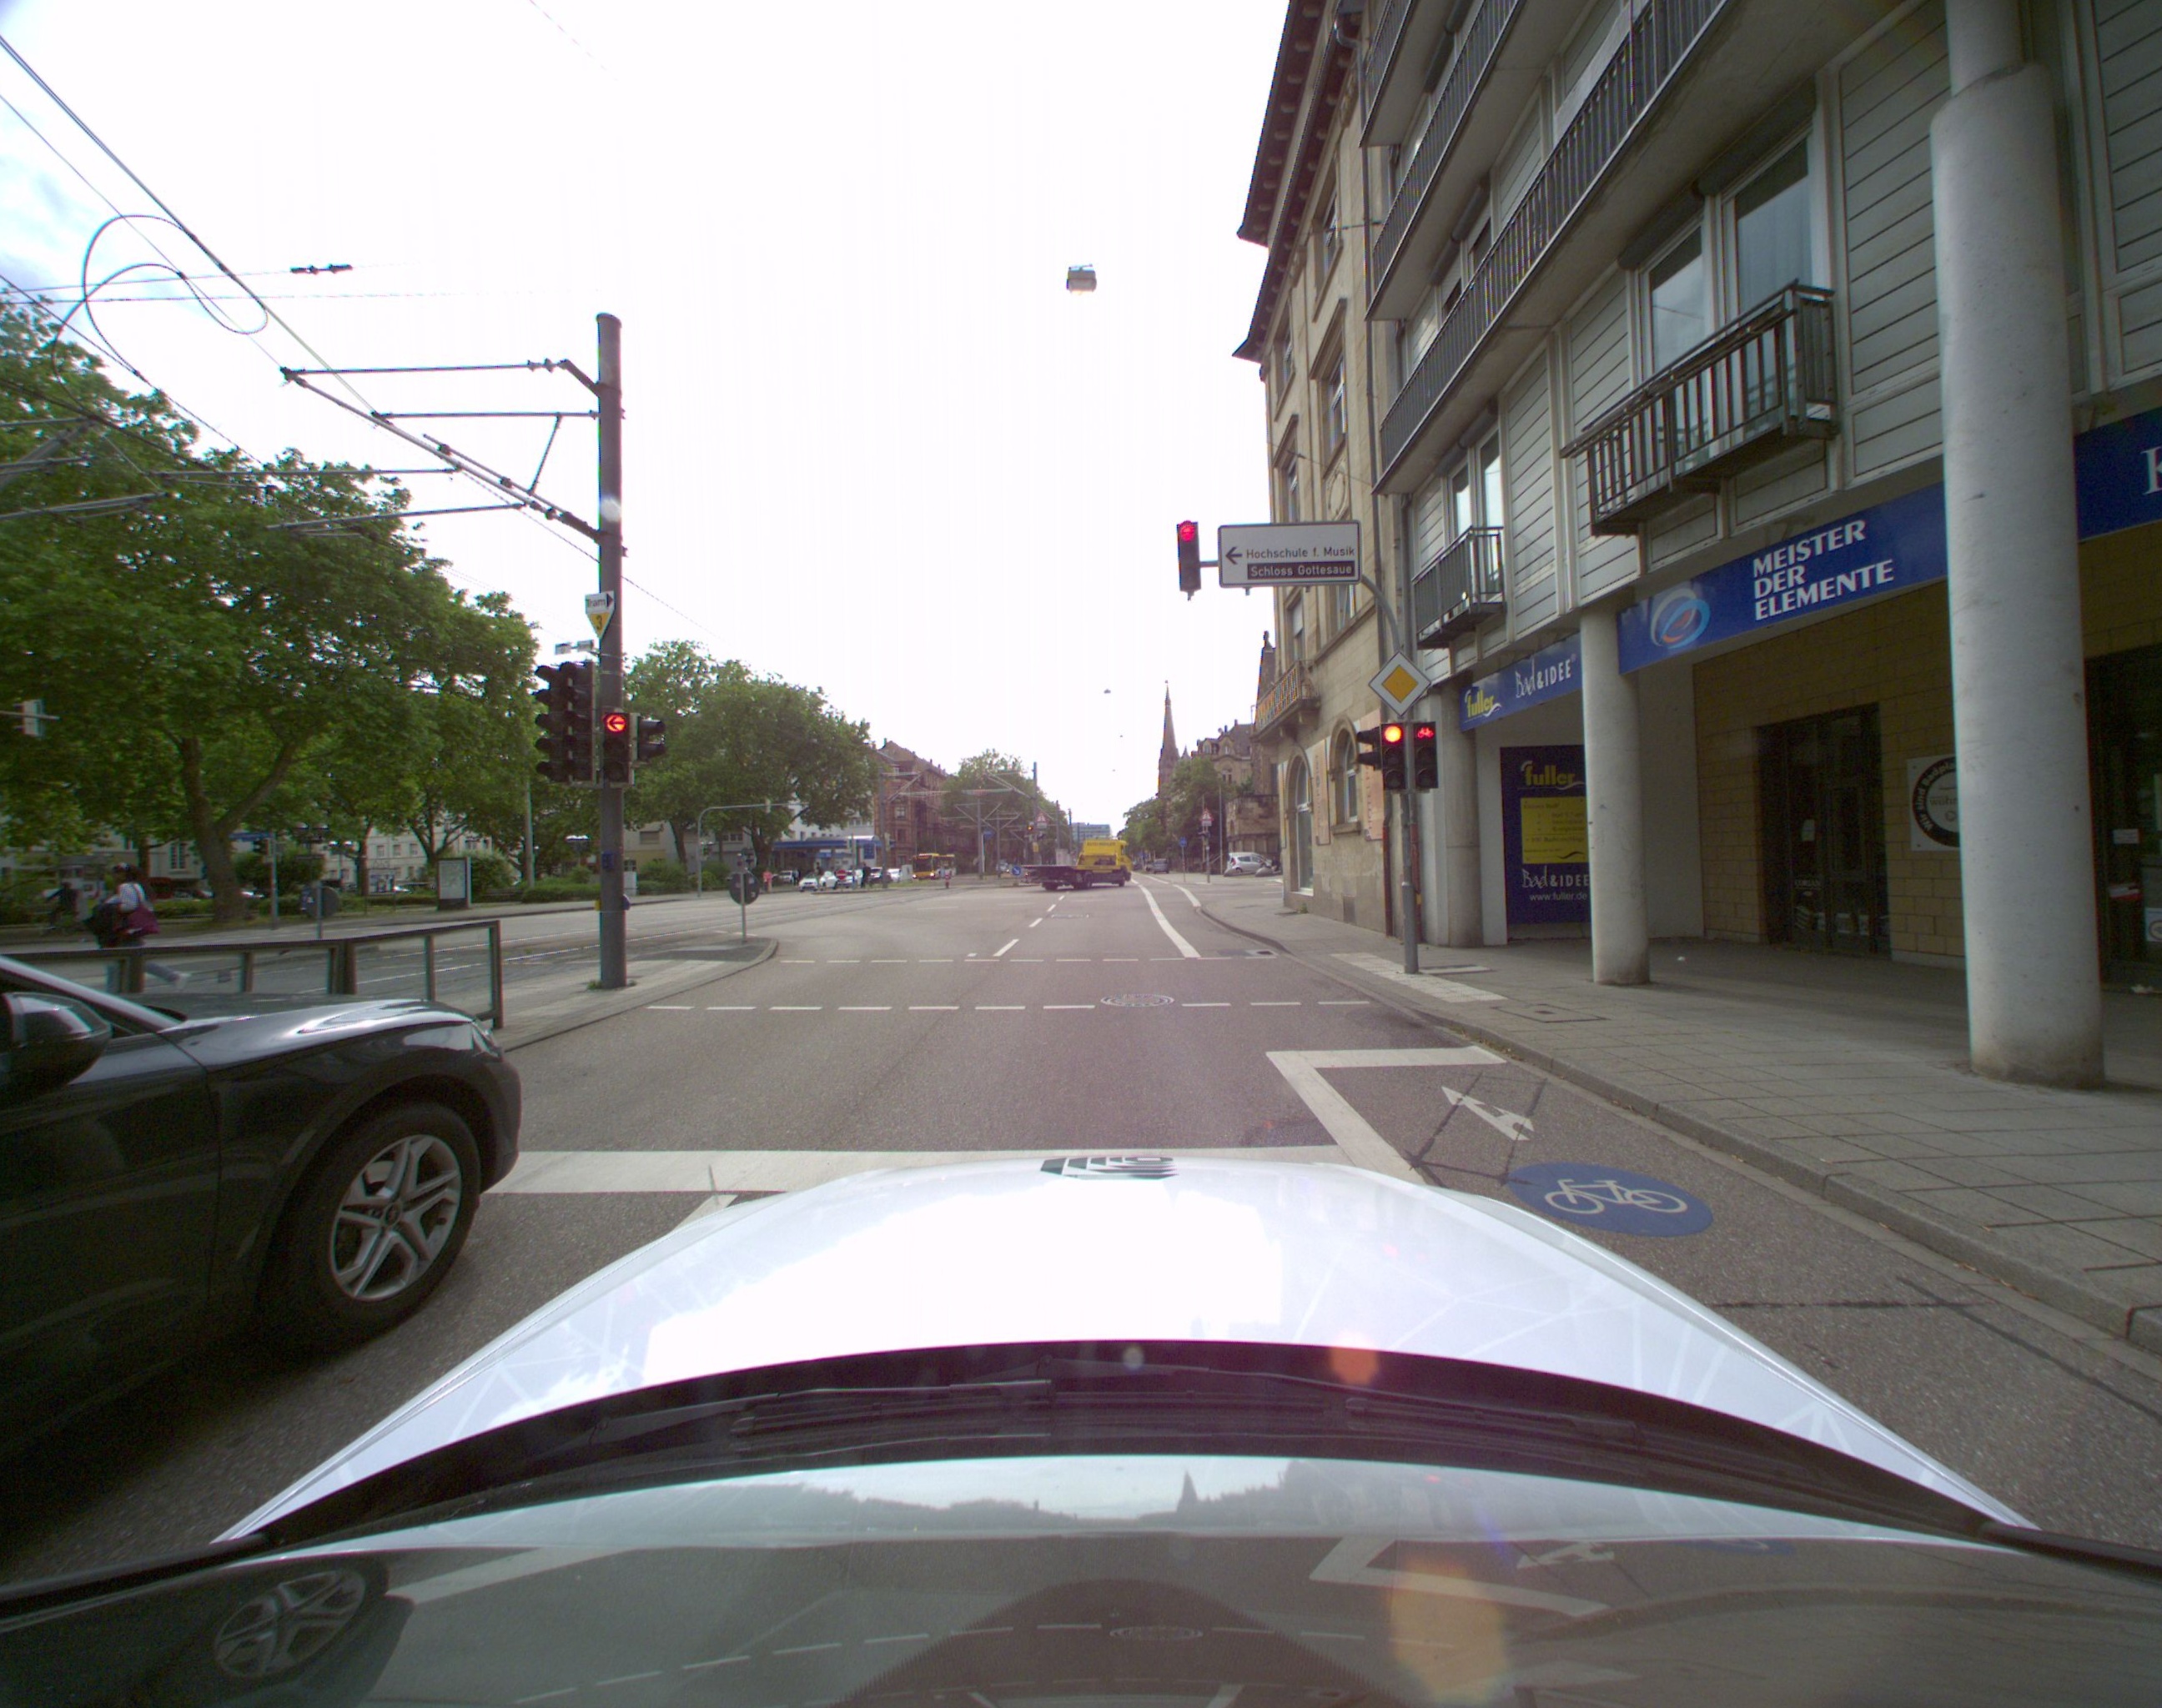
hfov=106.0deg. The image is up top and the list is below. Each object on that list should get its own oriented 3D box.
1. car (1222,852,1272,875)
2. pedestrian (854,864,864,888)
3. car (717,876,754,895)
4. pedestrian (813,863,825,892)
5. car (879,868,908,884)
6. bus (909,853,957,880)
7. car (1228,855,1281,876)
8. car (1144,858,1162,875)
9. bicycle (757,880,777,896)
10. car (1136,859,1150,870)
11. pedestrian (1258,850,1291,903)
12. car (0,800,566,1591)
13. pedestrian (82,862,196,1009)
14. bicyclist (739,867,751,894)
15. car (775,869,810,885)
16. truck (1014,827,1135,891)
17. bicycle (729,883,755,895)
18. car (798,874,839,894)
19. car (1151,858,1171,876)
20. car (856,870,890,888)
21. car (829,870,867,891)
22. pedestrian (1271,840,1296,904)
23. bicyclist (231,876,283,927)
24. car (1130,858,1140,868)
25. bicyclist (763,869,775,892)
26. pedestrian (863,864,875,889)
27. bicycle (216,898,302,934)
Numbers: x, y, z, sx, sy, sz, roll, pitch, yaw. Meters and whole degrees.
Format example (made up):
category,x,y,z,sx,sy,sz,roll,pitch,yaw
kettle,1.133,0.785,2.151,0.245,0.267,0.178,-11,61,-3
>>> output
category,x,y,z,sx,sy,sz,roll,pitch,yaw
car,13.864,0.778,68.155,3.785,1.904,2.001,0,-1,1
pedestrian,-14.188,1.404,52.069,0.544,1.537,0.465,0,-1,-3
car,-29.930,2.736,70.643,1.892,1.557,3.828,0,-1,-6
pedestrian,-16.070,1.426,49.975,0.571,1.794,0.518,0,-1,-3
car,-18.317,2.133,79.758,1.887,1.557,3.837,0,-1,2
bus,-17.785,1.477,98.871,3.073,3.112,13.098,0,-1,2
car,13.753,0.889,64.743,3.785,1.601,2.001,0,-1,1
car,8.829,1.548,99.641,1.986,2.014,4.001,0,-1,1
bicycle,-21.471,2.292,55.685,0.520,1.017,1.937,0,-1,2
car,9.720,1.674,128.454,1.986,1.607,4.165,-3,-1,1
pedestrian,6.079,0.695,25.592,0.620,1.653,1.003,-1,-1,39
car,-3.144,0.700,1.240,1.873,1.601,4.358,-1,-1,1
pedestrian,-11.454,0.945,9.919,0.663,1.680,0.874,-1,-1,40
bicyclist,-22.745,1.806,55.105,0.528,1.784,0.472,-1,-1,21
car,-28.743,2.290,81.336,1.986,1.530,4.001,0,-1,2
truck,-0.018,0.249,42.307,2.606,2.941,10.232,-1,0,21
bicycle,-22.923,2.382,55.088,1.665,0.773,0.659,-1,-1,22
car,-19.145,2.155,59.525,1.628,1.325,4.001,0,-1,2
car,8.812,1.432,90.075,1.986,2.014,4.001,0,-1,1
car,-18.585,2.219,72.926,1.887,1.557,3.837,0,-1,2
car,-18.814,2.136,65.948,1.887,1.557,3.837,0,-1,2
pedestrian,5.893,0.513,23.644,0.578,1.813,1.020,0,-1,21
bicyclist,-28.215,1.622,27.894,1.041,1.683,0.641,0,-1,-19
car,11.511,1.845,172.555,1.986,2.014,4.001,0,-1,2
bicyclist,-21.464,1.814,55.991,0.585,1.568,0.619,0,-1,1
pedestrian,-13.452,1.423,51.692,0.651,1.537,0.465,0,-1,-3
bicycle,-28.162,2.113,27.934,1.943,1.136,0.731,0,-1,-19
